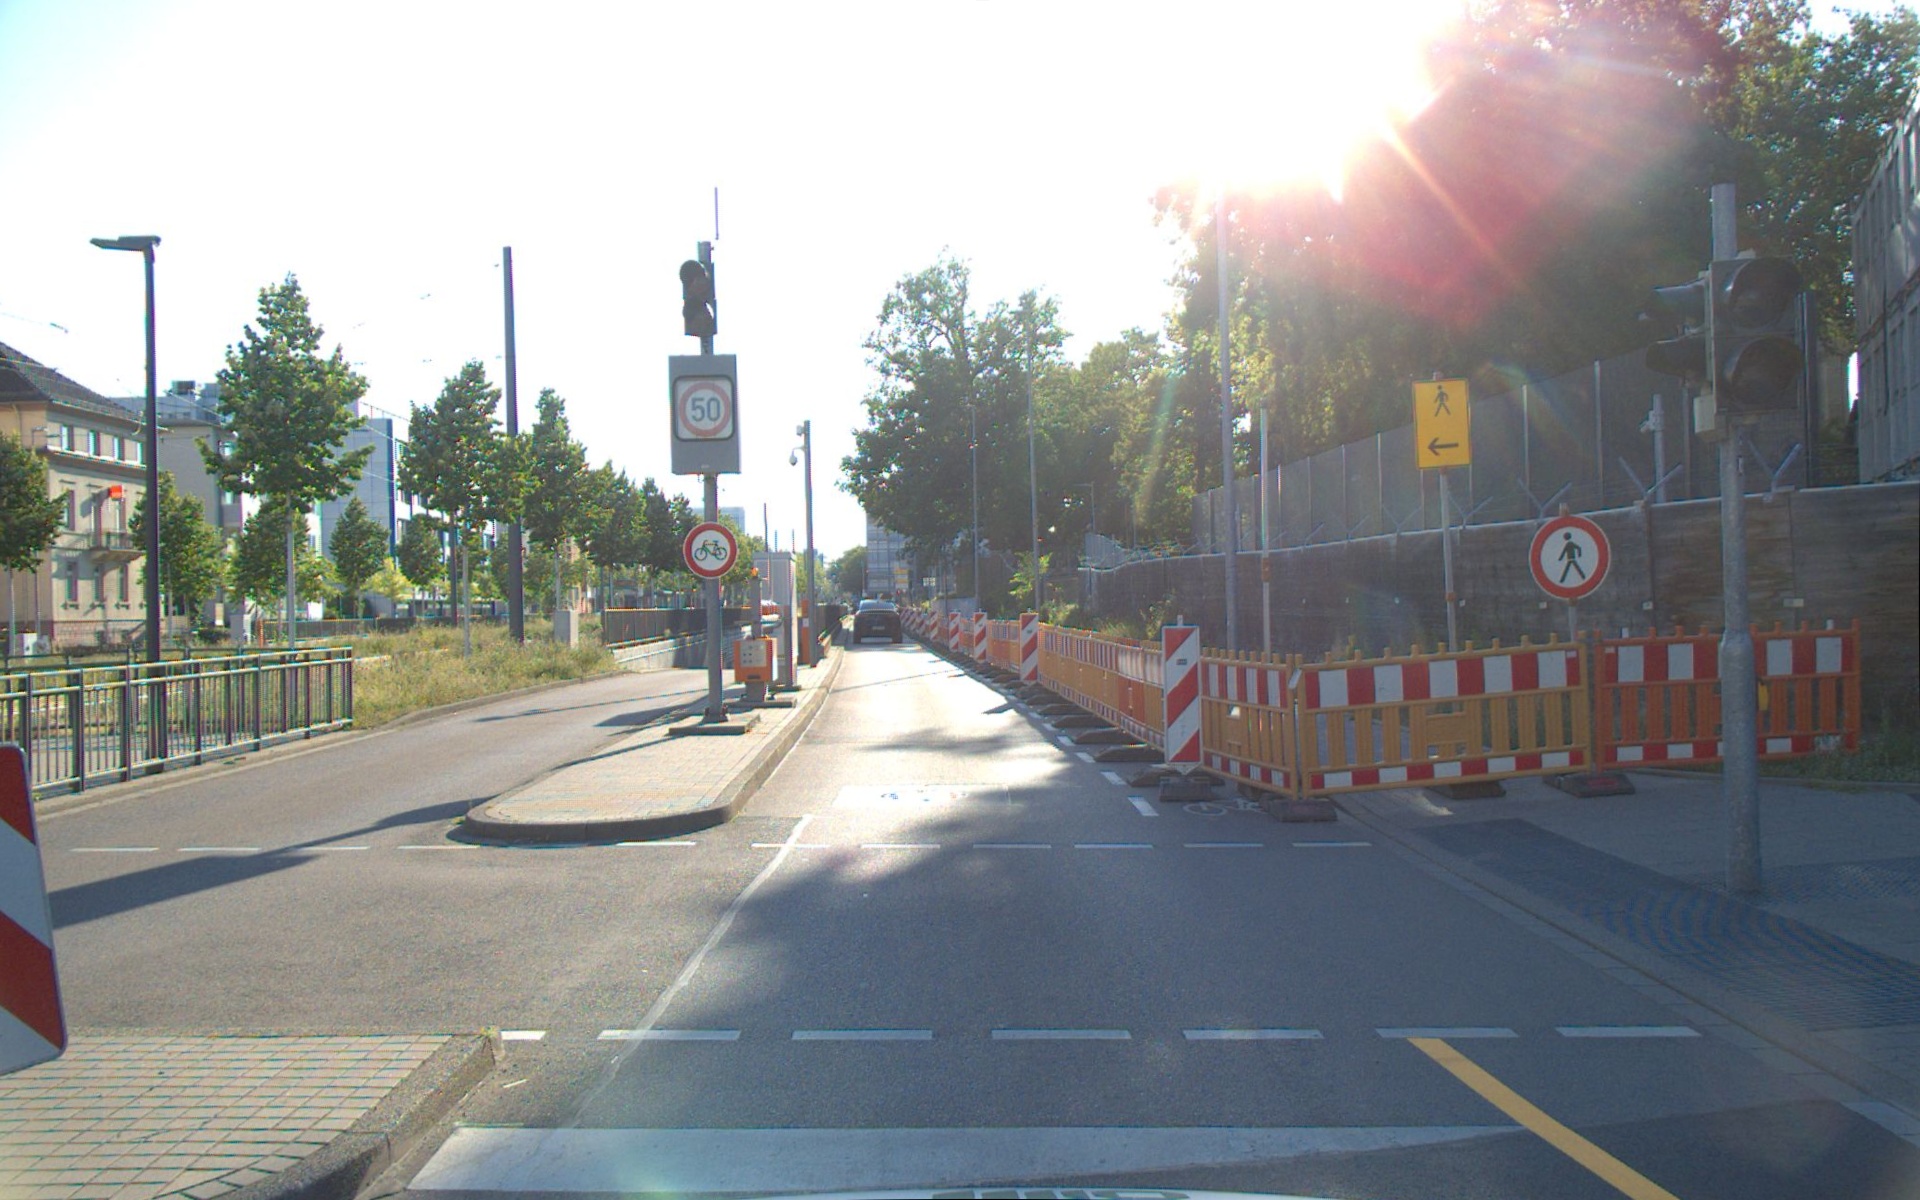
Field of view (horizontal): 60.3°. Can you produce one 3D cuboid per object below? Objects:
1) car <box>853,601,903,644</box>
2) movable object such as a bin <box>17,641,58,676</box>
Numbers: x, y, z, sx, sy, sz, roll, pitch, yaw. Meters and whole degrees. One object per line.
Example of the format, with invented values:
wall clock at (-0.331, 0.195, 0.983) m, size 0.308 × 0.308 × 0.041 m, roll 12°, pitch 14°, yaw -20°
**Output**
car at (-3.334, 0.904, 67.424) m, size 1.965 × 1.688 × 3.998 m, roll 0°, pitch -1°, yaw -3°
movable object such as a bin at (-40.896, 2.596, 73.344) m, size 1.181 × 1.454 × 1.079 m, roll -2°, pitch 0°, yaw -4°
